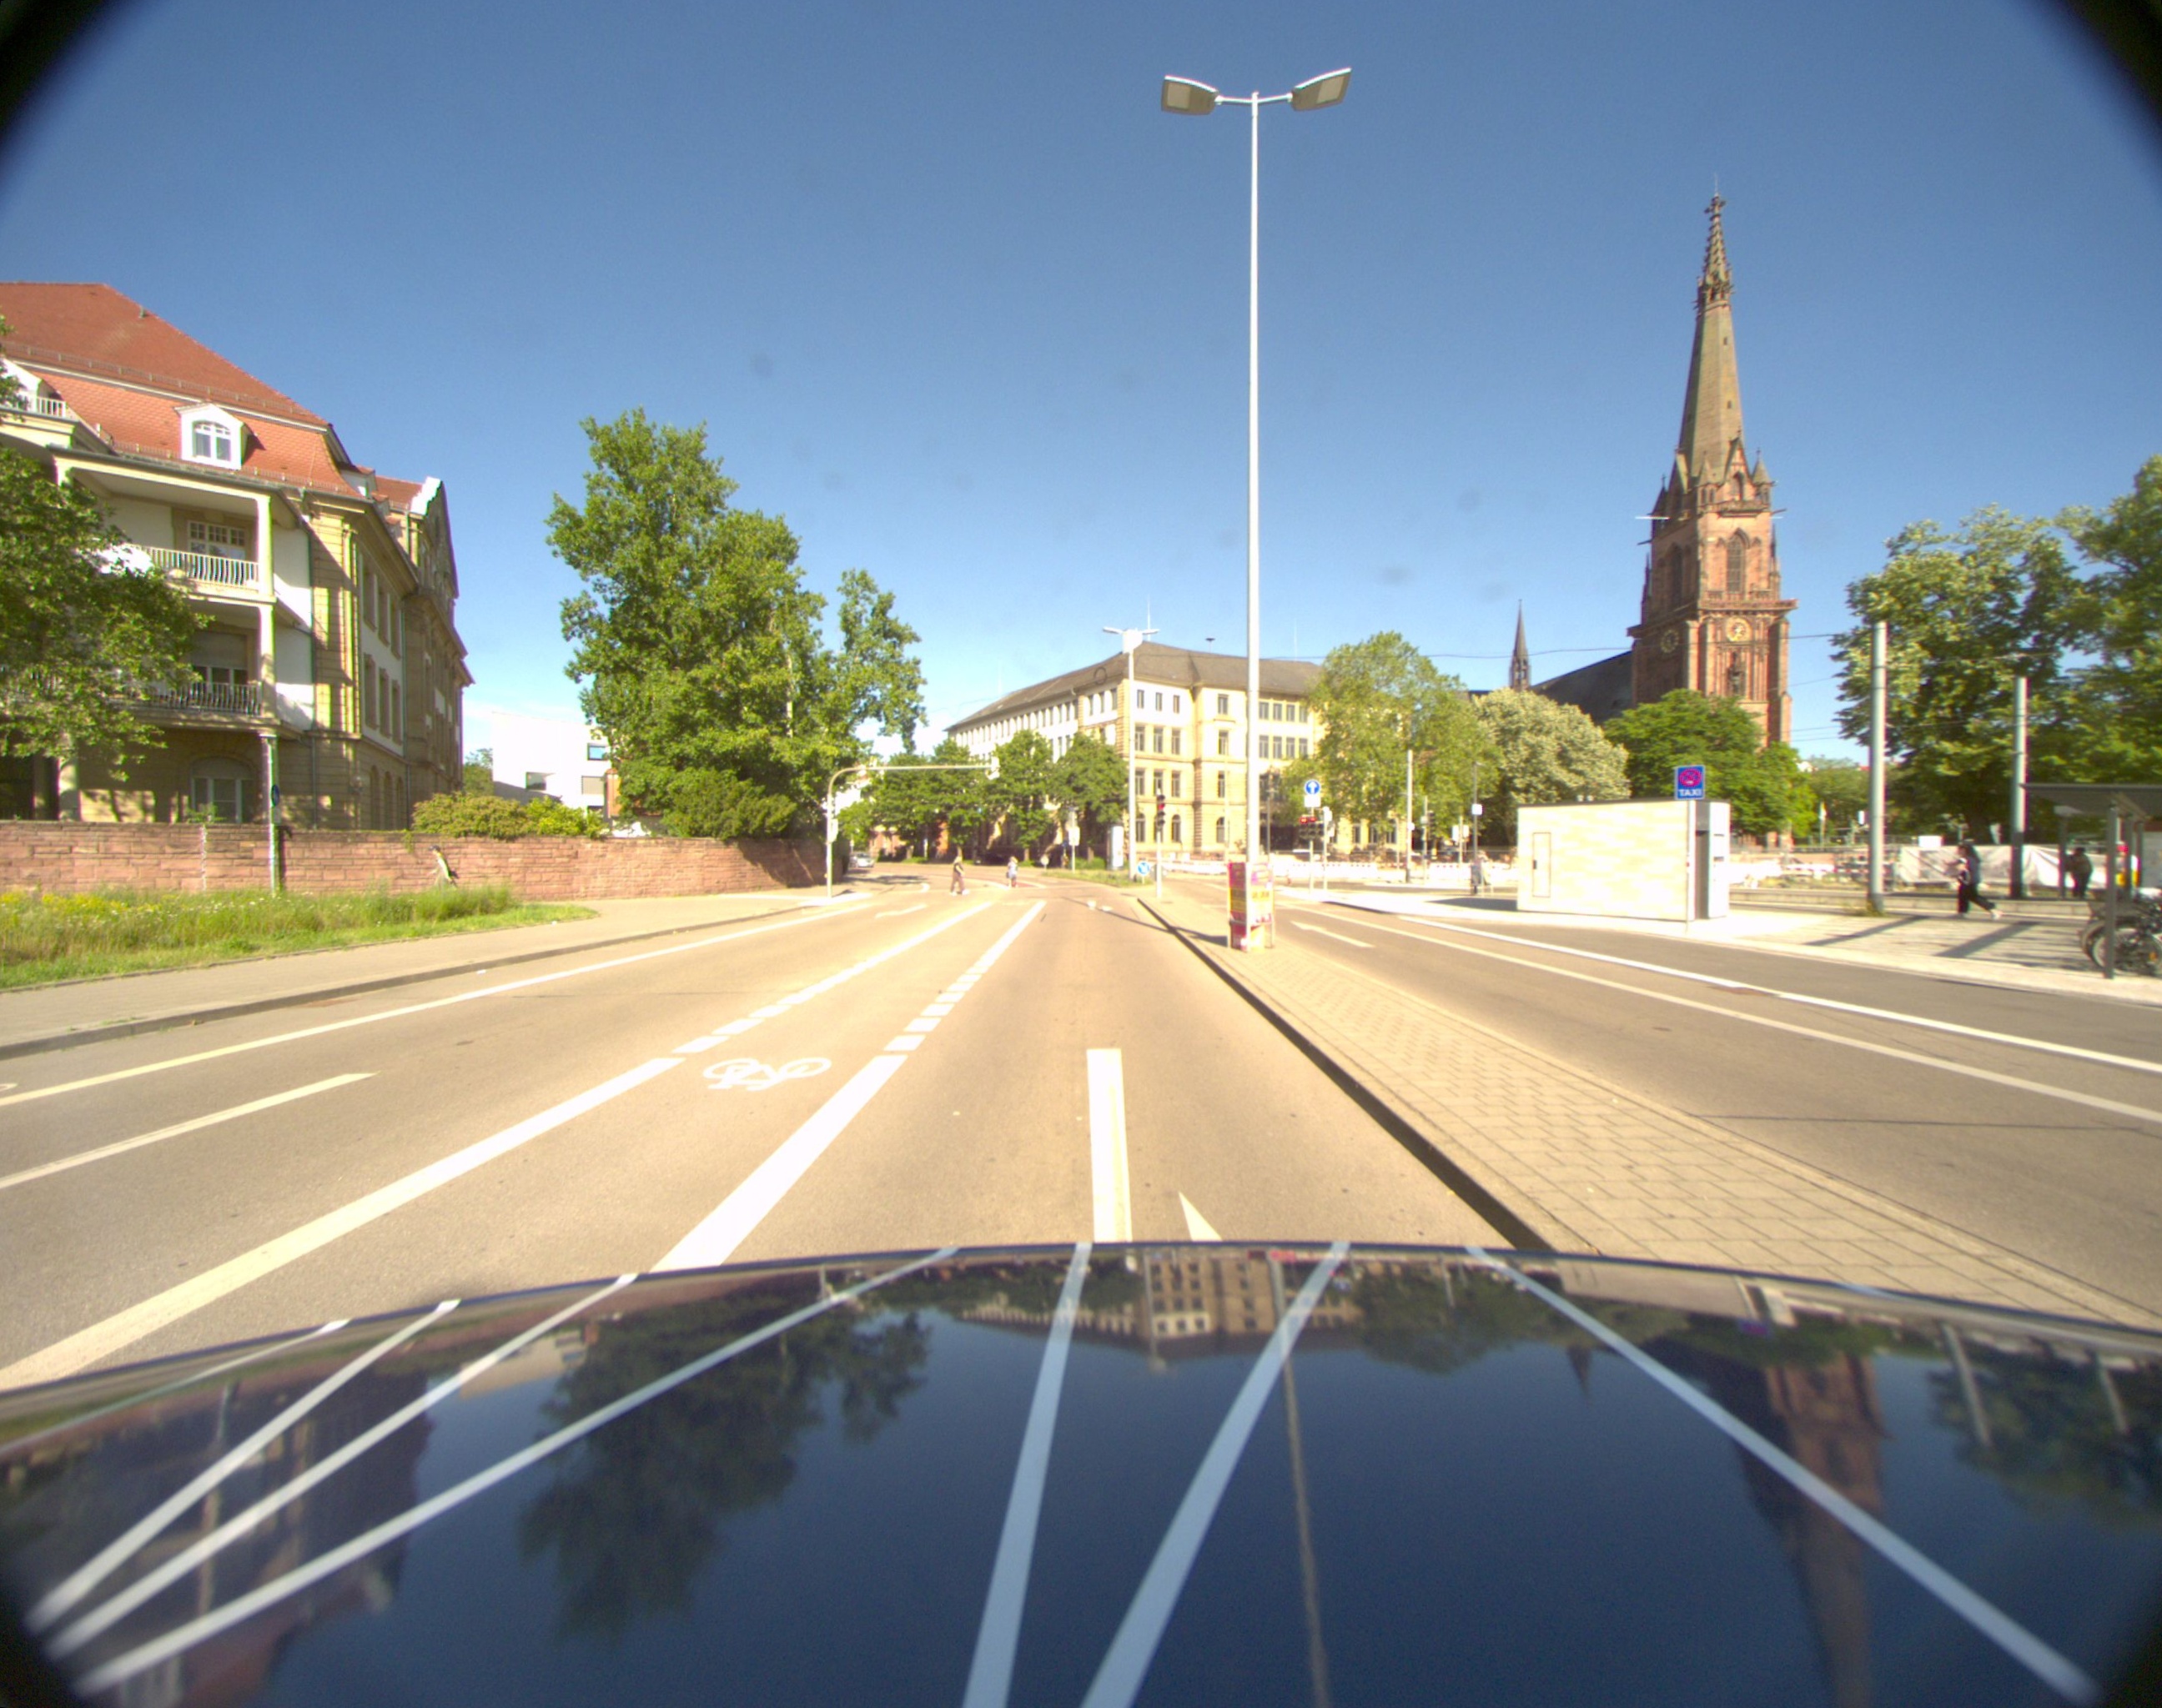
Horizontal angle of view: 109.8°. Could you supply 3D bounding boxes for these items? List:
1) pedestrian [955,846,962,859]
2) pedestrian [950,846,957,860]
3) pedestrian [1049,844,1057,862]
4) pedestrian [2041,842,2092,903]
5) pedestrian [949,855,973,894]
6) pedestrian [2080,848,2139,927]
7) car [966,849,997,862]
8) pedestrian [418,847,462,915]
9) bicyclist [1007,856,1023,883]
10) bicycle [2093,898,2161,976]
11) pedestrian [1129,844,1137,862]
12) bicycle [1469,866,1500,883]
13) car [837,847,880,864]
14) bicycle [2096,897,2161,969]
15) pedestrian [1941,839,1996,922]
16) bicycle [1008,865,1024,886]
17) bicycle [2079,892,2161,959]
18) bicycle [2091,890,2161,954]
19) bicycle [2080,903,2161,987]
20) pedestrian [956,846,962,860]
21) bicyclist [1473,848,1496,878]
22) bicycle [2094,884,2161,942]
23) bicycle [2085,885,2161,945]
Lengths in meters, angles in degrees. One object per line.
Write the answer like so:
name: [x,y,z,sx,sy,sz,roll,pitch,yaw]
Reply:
pedestrian: [-17.414,-0.190,107.868,0.578,1.893,0.849,-1,1,-36]
pedestrian: [-17.576,-0.149,104.876,0.578,1.893,0.781,-1,1,-36]
pedestrian: [-3.169,-0.106,85.559,0.557,2.002,0.645,-1,1,-37]
pedestrian: [30.485,0.560,23.509,0.619,1.849,0.703,0,1,11]
pedestrian: [-5.172,0.875,32.816,0.932,1.657,0.630,0,1,-1]
pedestrian: [21.792,0.687,16.103,0.621,1.613,0.700,-1,1,-33]
car: [-11.874,0.145,90.559,1.839,1.587,3.989,-1,1,-37]
pedestrian: [-17.789,0.719,21.085,0.628,1.847,0.789,1,1,39]
bicyclist: [-3.433,0.789,39.609,0.741,1.363,0.626,-2,1,-6]
bicycle: [15.028,1.169,10.198,0.407,0.993,1.678,-3,3,-33]
pedestrian: [4.981,-0.080,72.983,0.540,1.710,0.545,-1,1,-37]
bicycle: [21.095,1.062,39.706,2.057,0.777,0.739,-1,1,-40]
car: [-24.149,0.181,82.311,4.838,1.580,2.004,-2,1,38]
bicycle: [16.126,1.185,10.989,0.407,0.993,1.678,-3,3,-33]
pedestrian: [20.186,0.586,17.291,0.700,1.849,0.622,0,1,39]
bicycle: [-3.415,1.125,39.628,0.741,0.989,2.305,-2,1,-6]
bicycle: [17.183,1.144,12.002,0.407,0.993,1.679,-3,2,-33]
bicycle: [17.962,1.140,12.449,0.407,0.993,1.679,-3,2,-33]
bicycle: [13.983,1.191,9.541,0.407,0.993,1.678,-3,3,-33]
pedestrian: [-16.909,-0.181,105.324,0.578,1.893,0.849,-1,1,-36]
bicyclist: [21.080,0.455,39.687,0.887,1.562,0.739,-1,1,-40]
bicycle: [19.512,1.068,13.569,0.407,0.993,1.679,-3,2,-33]
bicycle: [19.026,1.087,13.327,0.407,0.993,1.679,-3,2,-33]
